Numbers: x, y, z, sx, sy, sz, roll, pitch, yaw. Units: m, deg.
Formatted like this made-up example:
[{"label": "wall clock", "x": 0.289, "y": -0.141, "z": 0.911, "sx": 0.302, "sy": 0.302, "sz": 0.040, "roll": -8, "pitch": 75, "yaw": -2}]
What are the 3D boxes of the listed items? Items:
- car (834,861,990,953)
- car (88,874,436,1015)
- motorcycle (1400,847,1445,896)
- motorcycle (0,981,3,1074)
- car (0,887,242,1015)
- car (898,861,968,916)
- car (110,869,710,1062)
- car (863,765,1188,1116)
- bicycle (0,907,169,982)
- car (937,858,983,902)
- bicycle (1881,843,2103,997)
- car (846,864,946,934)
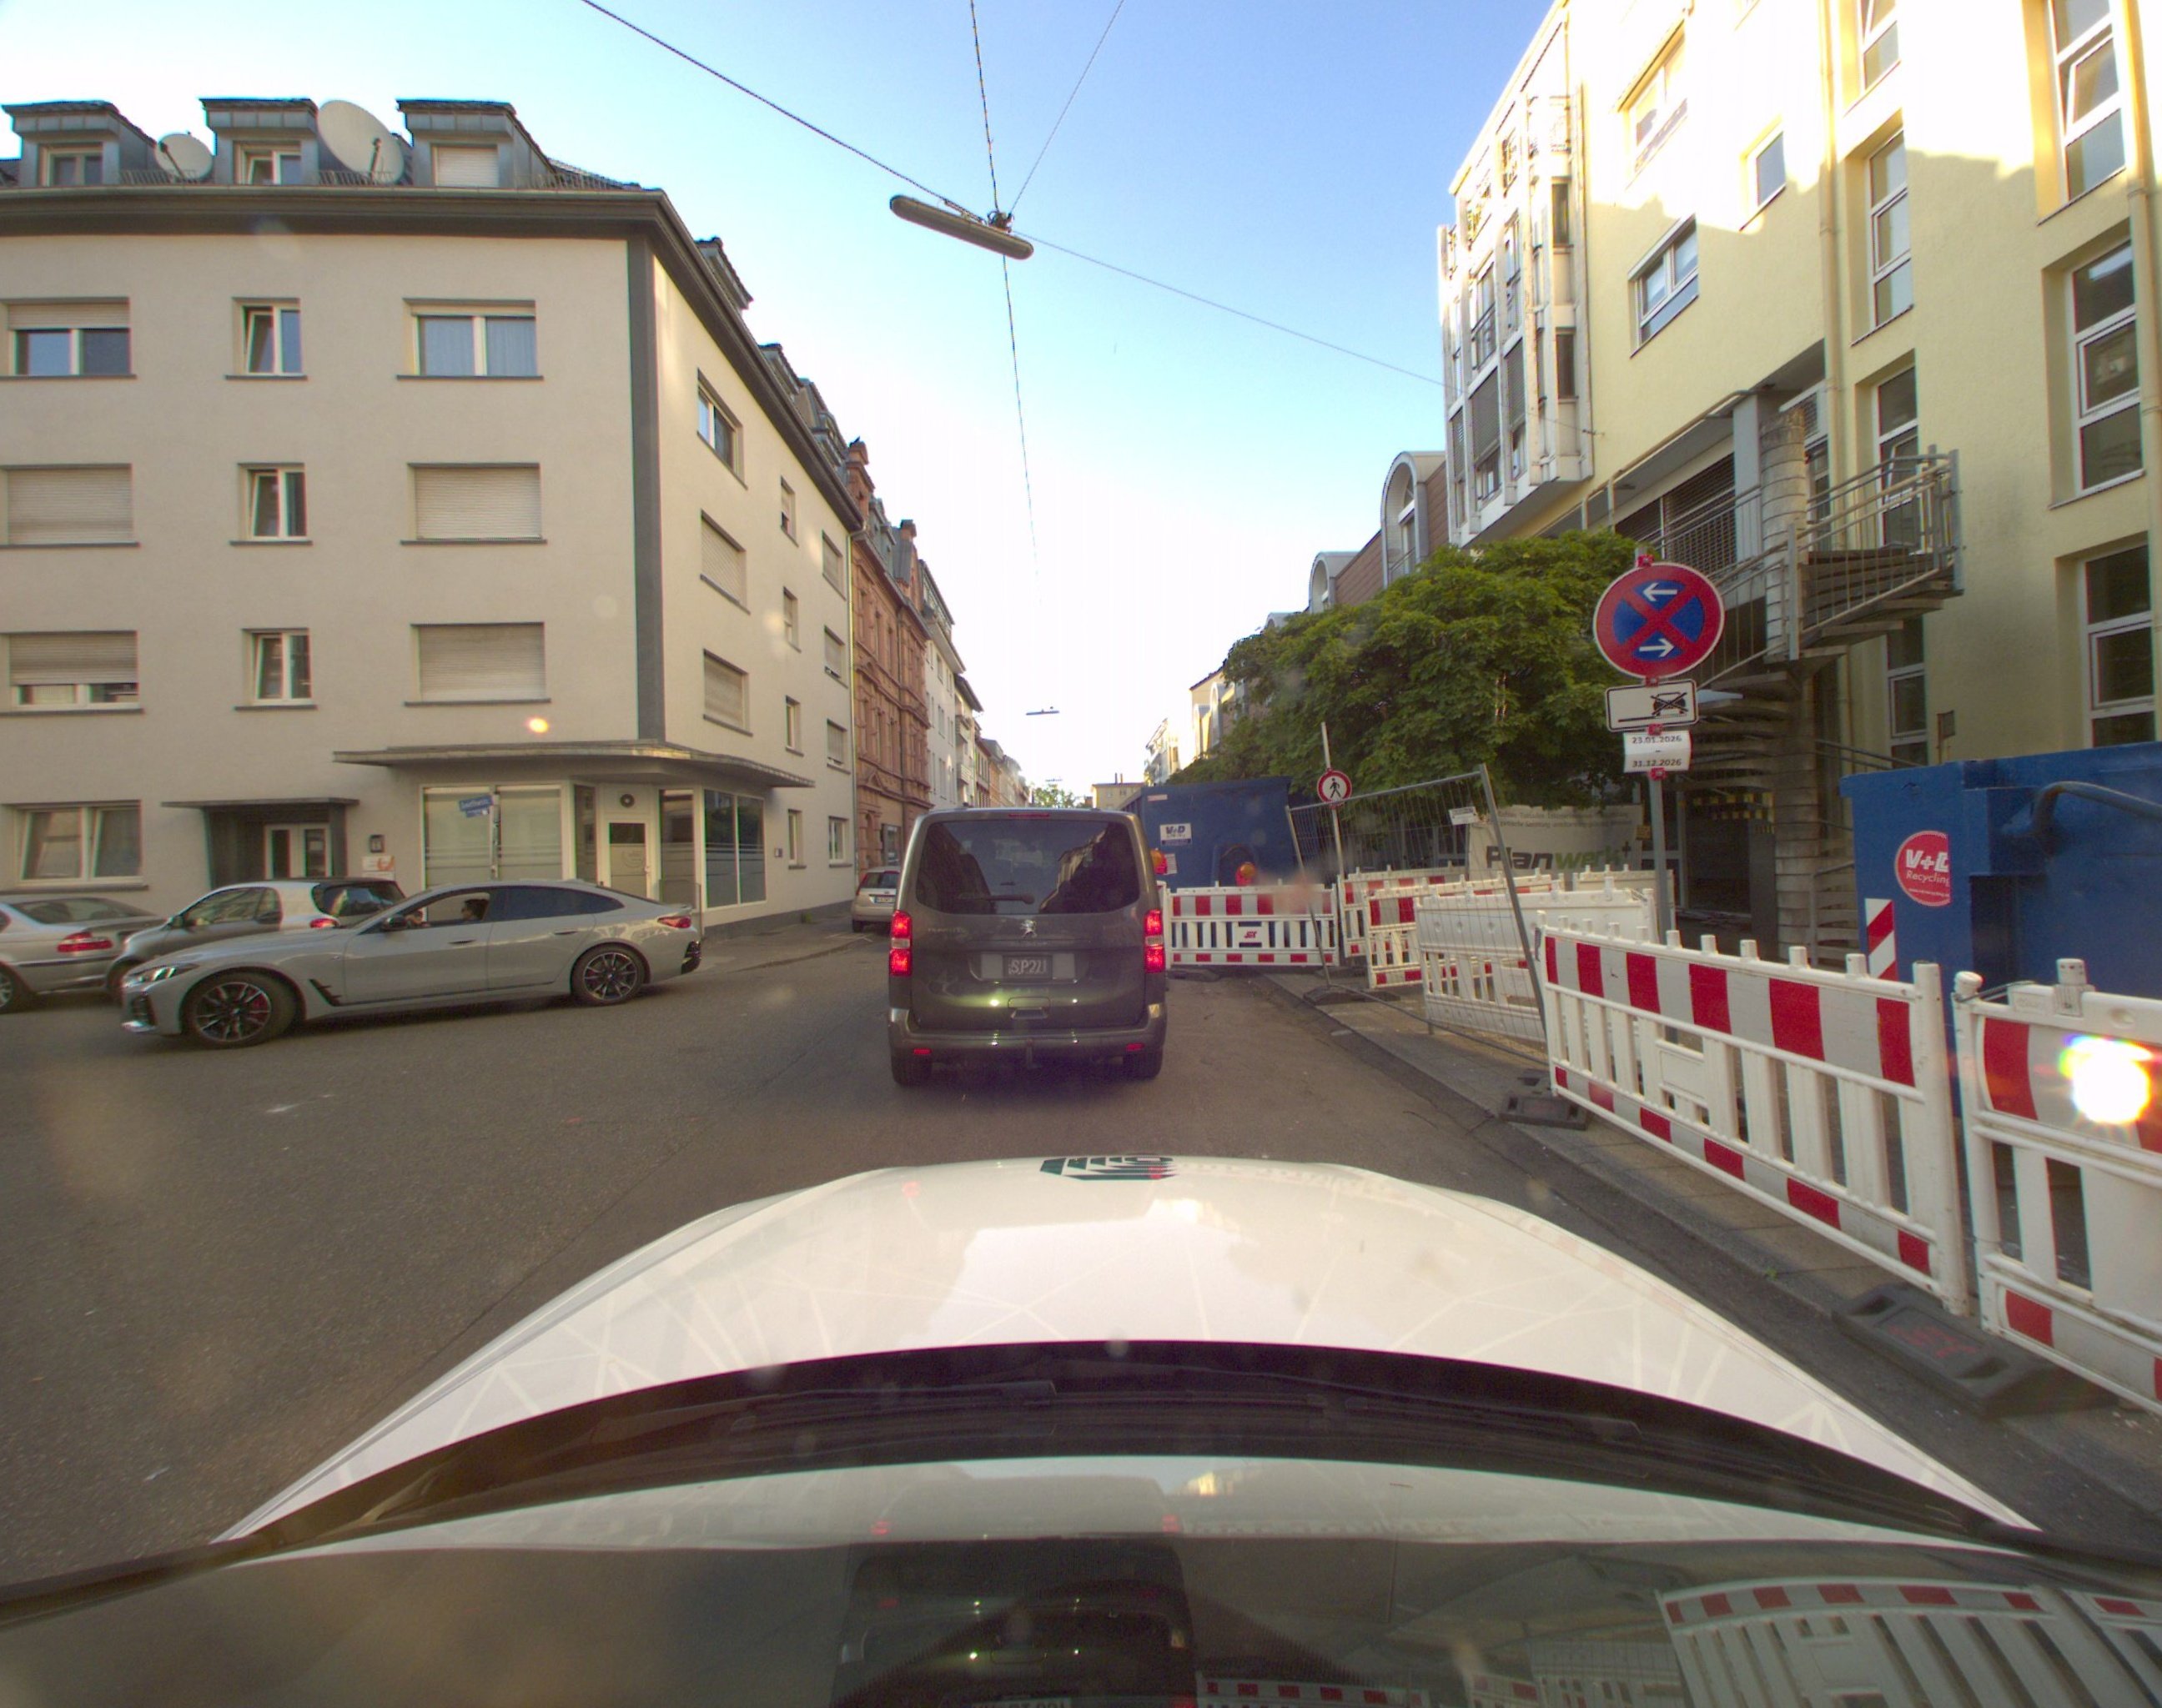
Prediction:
[{"label": "car", "x": -3.076, "y": 0.906, "z": 15.743, "sx": 1.986, "sy": 1.486, "sz": 4.002, "roll": -1, "pitch": 0, "yaw": 2}, {"label": "car", "x": -10.345, "y": 1.090, "z": 10.466, "sx": 2.746, "sy": 1.566, "sz": 1.648, "roll": -1, "pitch": 0, "yaw": -1}, {"label": "motorcycle", "x": 9.242, "y": 0.458, "z": 22.123, "sx": 0.863, "sy": 1.222, "sz": 2.468, "roll": -3, "pitch": -1, "yaw": 17}, {"label": "motorcycle", "x": -8.903, "y": 1.160, "z": 5.611, "sx": 0.804, "sy": 1.249, "sz": 1.693, "roll": 0, "pitch": 1, "yaw": -10}, {"label": "car", "x": -14.359, "y": 1.259, "z": 10.835, "sx": 4.238, "sy": 1.453, "sz": 1.967, "roll": -1, "pitch": 0, "yaw": -2}, {"label": "car", "x": -4.401, "y": 0.980, "z": 24.661, "sx": 1.551, "sy": 1.508, "sz": 3.595, "roll": 1, "pitch": 0, "yaw": -2}, {"label": "car", "x": -6.880, "y": 0.982, "z": 9.058, "sx": 4.685, "sy": 1.486, "sz": 1.978, "roll": -1, "pitch": 0, "yaw": -37}, {"label": "car", "x": -0.378, "y": 0.520, "z": 6.951, "sx": 1.853, "sy": 2.013, "sz": 3.997, "roll": -4, "pitch": 0, "yaw": -2}, {"label": "bicycle", "x": -16.000, "y": 1.438, "z": 13.068, "sx": 2.046, "sy": 1.137, "sz": 0.488, "roll": 0, "pitch": -1, "yaw": -4}, {"label": "car", "x": -4.618, "y": 0.978, "z": 31.333, "sx": 1.392, "sy": 1.588, "sz": 2.792, "roll": -1, "pitch": 0, "yaw": -1}, {"label": "bicycle", "x": 8.017, "y": 0.544, "z": 7.180, "sx": 1.646, "sy": 1.268, "sz": 0.547, "roll": 0, "pitch": -1, "yaw": -12}, {"label": "car", "x": -4.230, "y": 0.973, "z": 19.087, "sx": 1.628, "sy": 1.430, "sz": 3.552, "roll": -1, "pitch": 0, "yaw": -2}]
